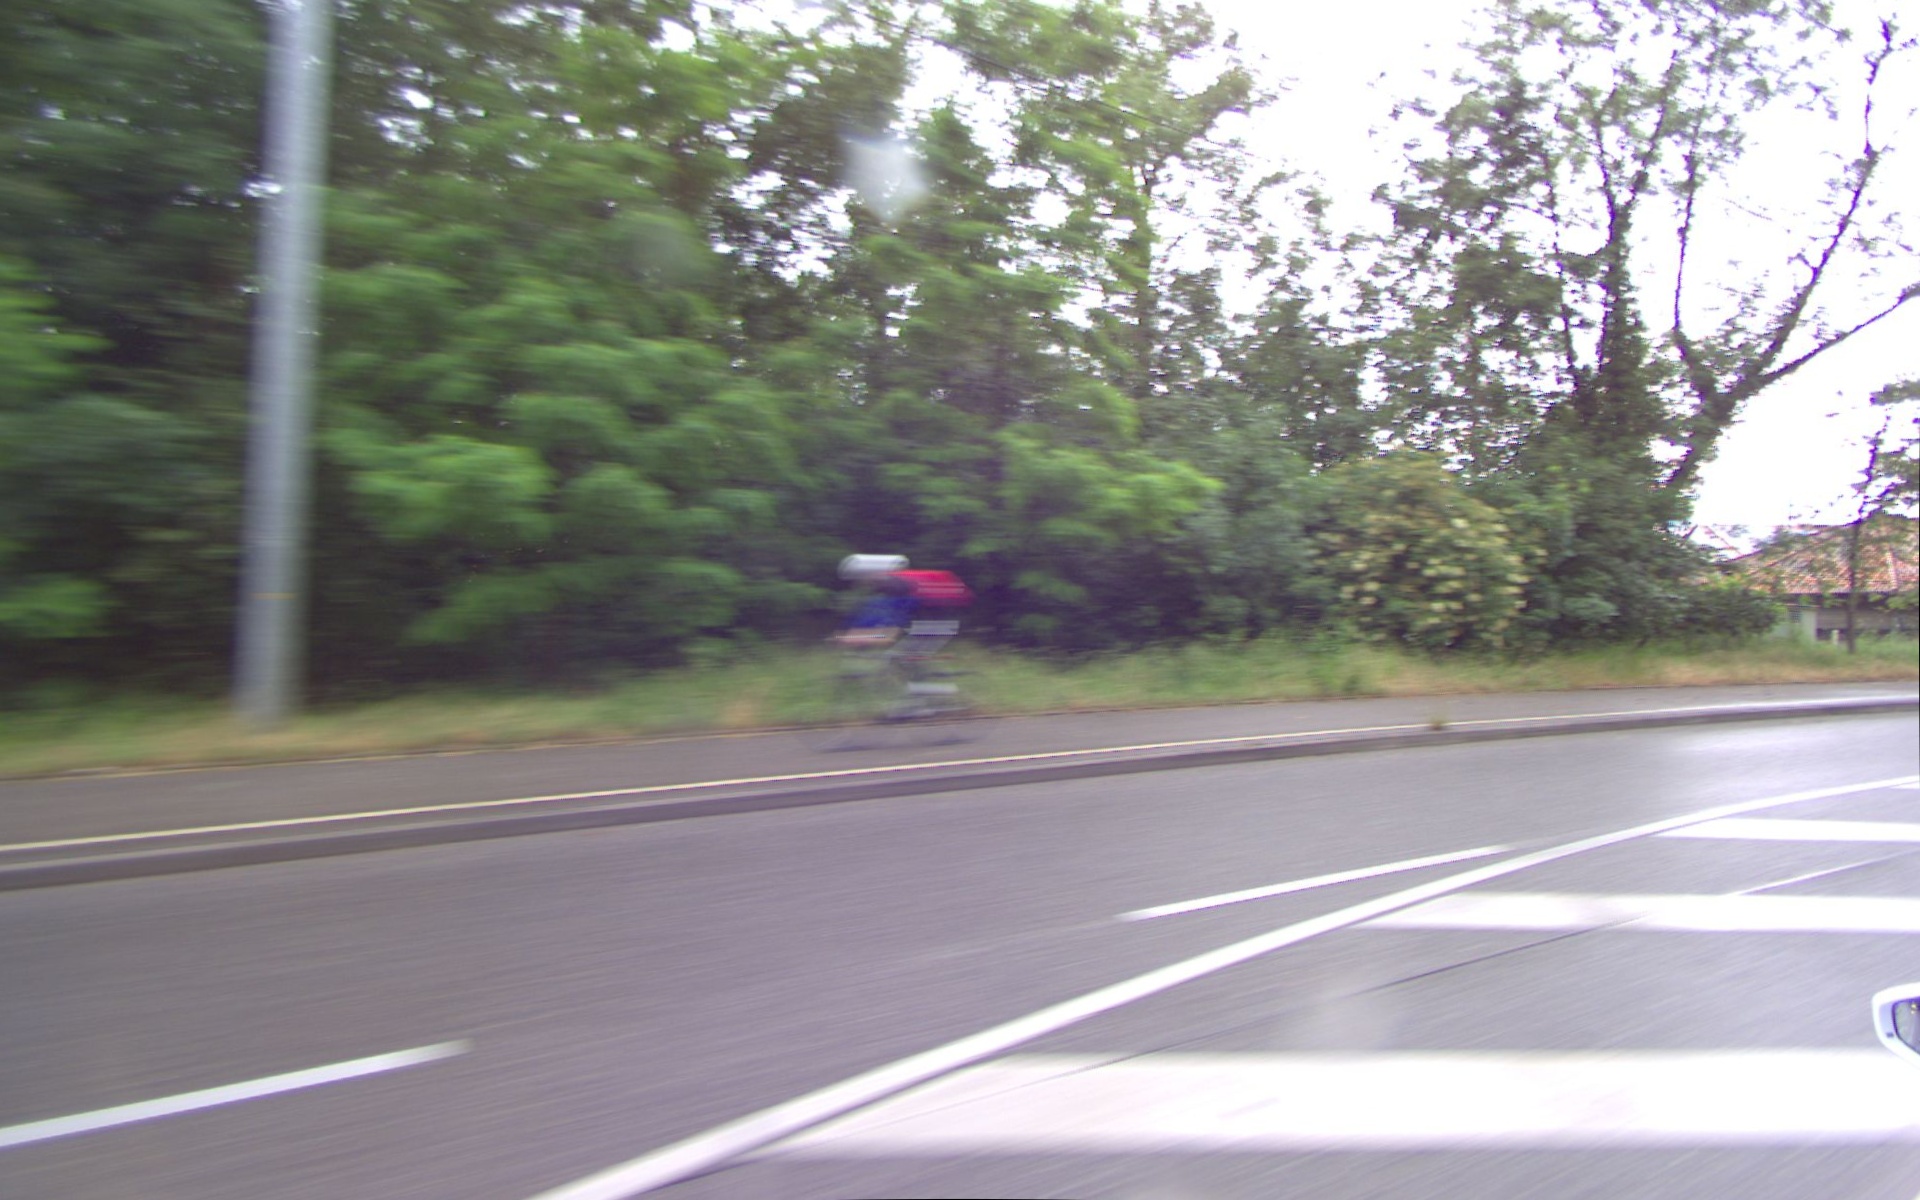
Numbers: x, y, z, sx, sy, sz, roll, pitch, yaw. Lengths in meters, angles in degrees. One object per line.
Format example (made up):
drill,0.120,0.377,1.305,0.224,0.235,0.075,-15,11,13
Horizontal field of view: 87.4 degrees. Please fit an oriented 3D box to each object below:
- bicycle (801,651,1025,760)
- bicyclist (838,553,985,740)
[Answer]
bicycle,-0.390,0.919,9.063,2.066,0.860,0.354,0,0,-28
bicyclist,-0.426,0.401,9.025,1.281,1.595,0.335,0,1,-27
